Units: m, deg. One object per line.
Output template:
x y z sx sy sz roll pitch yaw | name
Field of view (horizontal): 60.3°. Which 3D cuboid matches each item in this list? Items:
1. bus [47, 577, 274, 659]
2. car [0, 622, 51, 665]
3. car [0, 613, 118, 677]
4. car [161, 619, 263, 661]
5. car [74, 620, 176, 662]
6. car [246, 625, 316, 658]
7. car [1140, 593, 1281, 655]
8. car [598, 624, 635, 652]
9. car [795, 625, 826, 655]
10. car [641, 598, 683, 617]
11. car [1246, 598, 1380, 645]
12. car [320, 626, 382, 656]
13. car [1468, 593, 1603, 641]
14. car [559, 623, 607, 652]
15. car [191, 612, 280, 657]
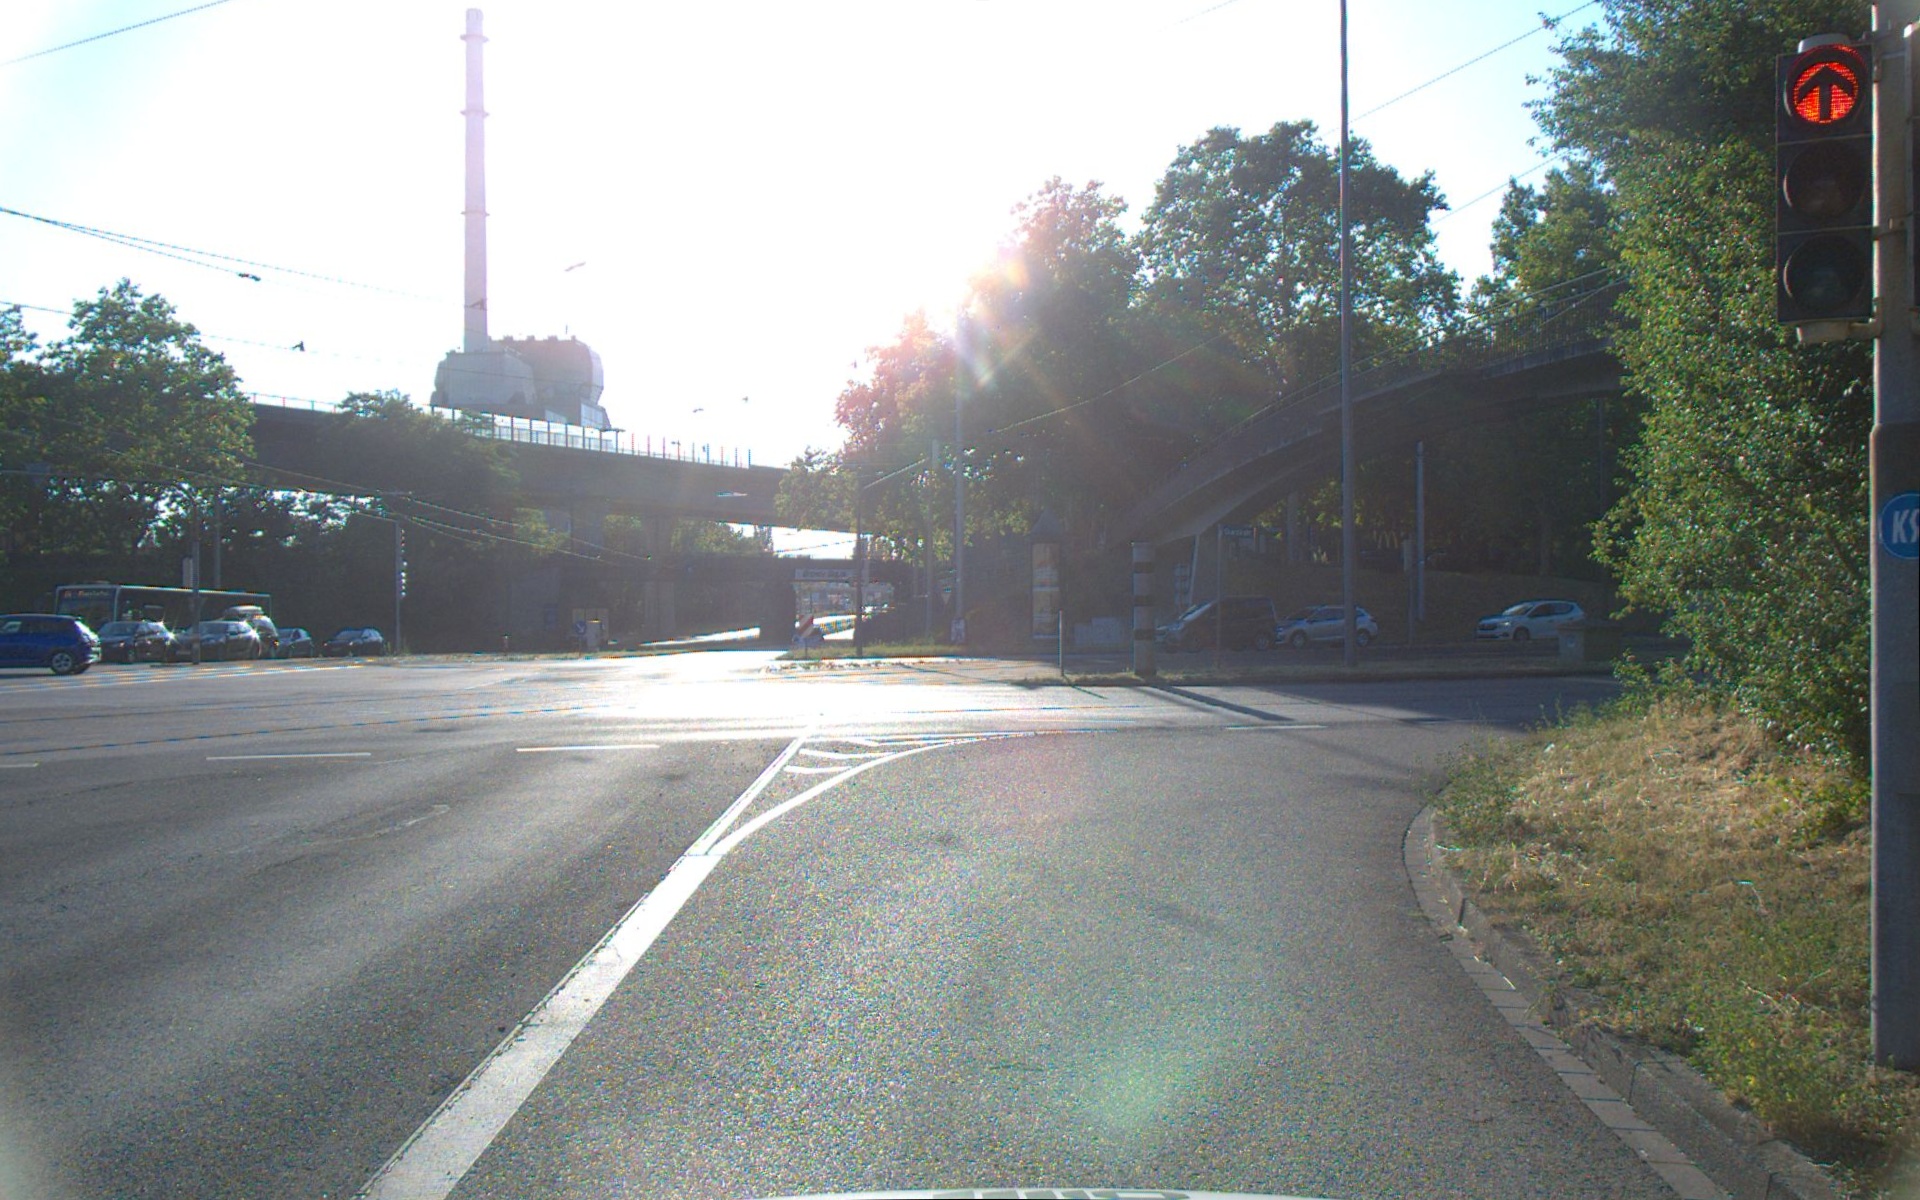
-32.099 0.733 67.327 2.764 3.006 12.854 0 -1 1 | bus
-32.126 1.444 55.277 1.572 1.378 3.732 0 -1 -3 | car
-23.698 1.120 41.913 3.859 1.586 1.991 0 -1 -16 | car
-25.712 1.364 57.010 1.676 1.378 4.094 0 -1 0 | car
-28.481 1.372 56.526 1.572 1.378 3.998 0 -1 -3 | car
-31.984 1.942 78.032 1.665 1.467 3.999 0 -1 0 | car
7.932 0.751 52.451 4.068 1.900 1.847 0 -1 -18 | car
-21.128 2.315 101.787 1.677 1.681 4.091 0 -1 -5 | car
-8.633 2.306 95.860 1.677 1.681 4.216 0 -1 -4 | car
-29.377 0.784 163.221 1.957 1.802 3.991 0 -1 31 | car
12.418 0.747 58.192 4.291 1.637 1.846 0 -1 -20 | car
-31.198 2.103 84.816 1.665 1.467 3.999 0 -1 0 | car
19.847 0.583 57.044 4.230 1.637 1.846 0 -1 -20 | car
-28.155 2.760 123.770 1.951 2.049 5.428 0 0 4 | car
-28.217 1.328 64.562 1.676 1.681 4.094 0 -1 0 | car
